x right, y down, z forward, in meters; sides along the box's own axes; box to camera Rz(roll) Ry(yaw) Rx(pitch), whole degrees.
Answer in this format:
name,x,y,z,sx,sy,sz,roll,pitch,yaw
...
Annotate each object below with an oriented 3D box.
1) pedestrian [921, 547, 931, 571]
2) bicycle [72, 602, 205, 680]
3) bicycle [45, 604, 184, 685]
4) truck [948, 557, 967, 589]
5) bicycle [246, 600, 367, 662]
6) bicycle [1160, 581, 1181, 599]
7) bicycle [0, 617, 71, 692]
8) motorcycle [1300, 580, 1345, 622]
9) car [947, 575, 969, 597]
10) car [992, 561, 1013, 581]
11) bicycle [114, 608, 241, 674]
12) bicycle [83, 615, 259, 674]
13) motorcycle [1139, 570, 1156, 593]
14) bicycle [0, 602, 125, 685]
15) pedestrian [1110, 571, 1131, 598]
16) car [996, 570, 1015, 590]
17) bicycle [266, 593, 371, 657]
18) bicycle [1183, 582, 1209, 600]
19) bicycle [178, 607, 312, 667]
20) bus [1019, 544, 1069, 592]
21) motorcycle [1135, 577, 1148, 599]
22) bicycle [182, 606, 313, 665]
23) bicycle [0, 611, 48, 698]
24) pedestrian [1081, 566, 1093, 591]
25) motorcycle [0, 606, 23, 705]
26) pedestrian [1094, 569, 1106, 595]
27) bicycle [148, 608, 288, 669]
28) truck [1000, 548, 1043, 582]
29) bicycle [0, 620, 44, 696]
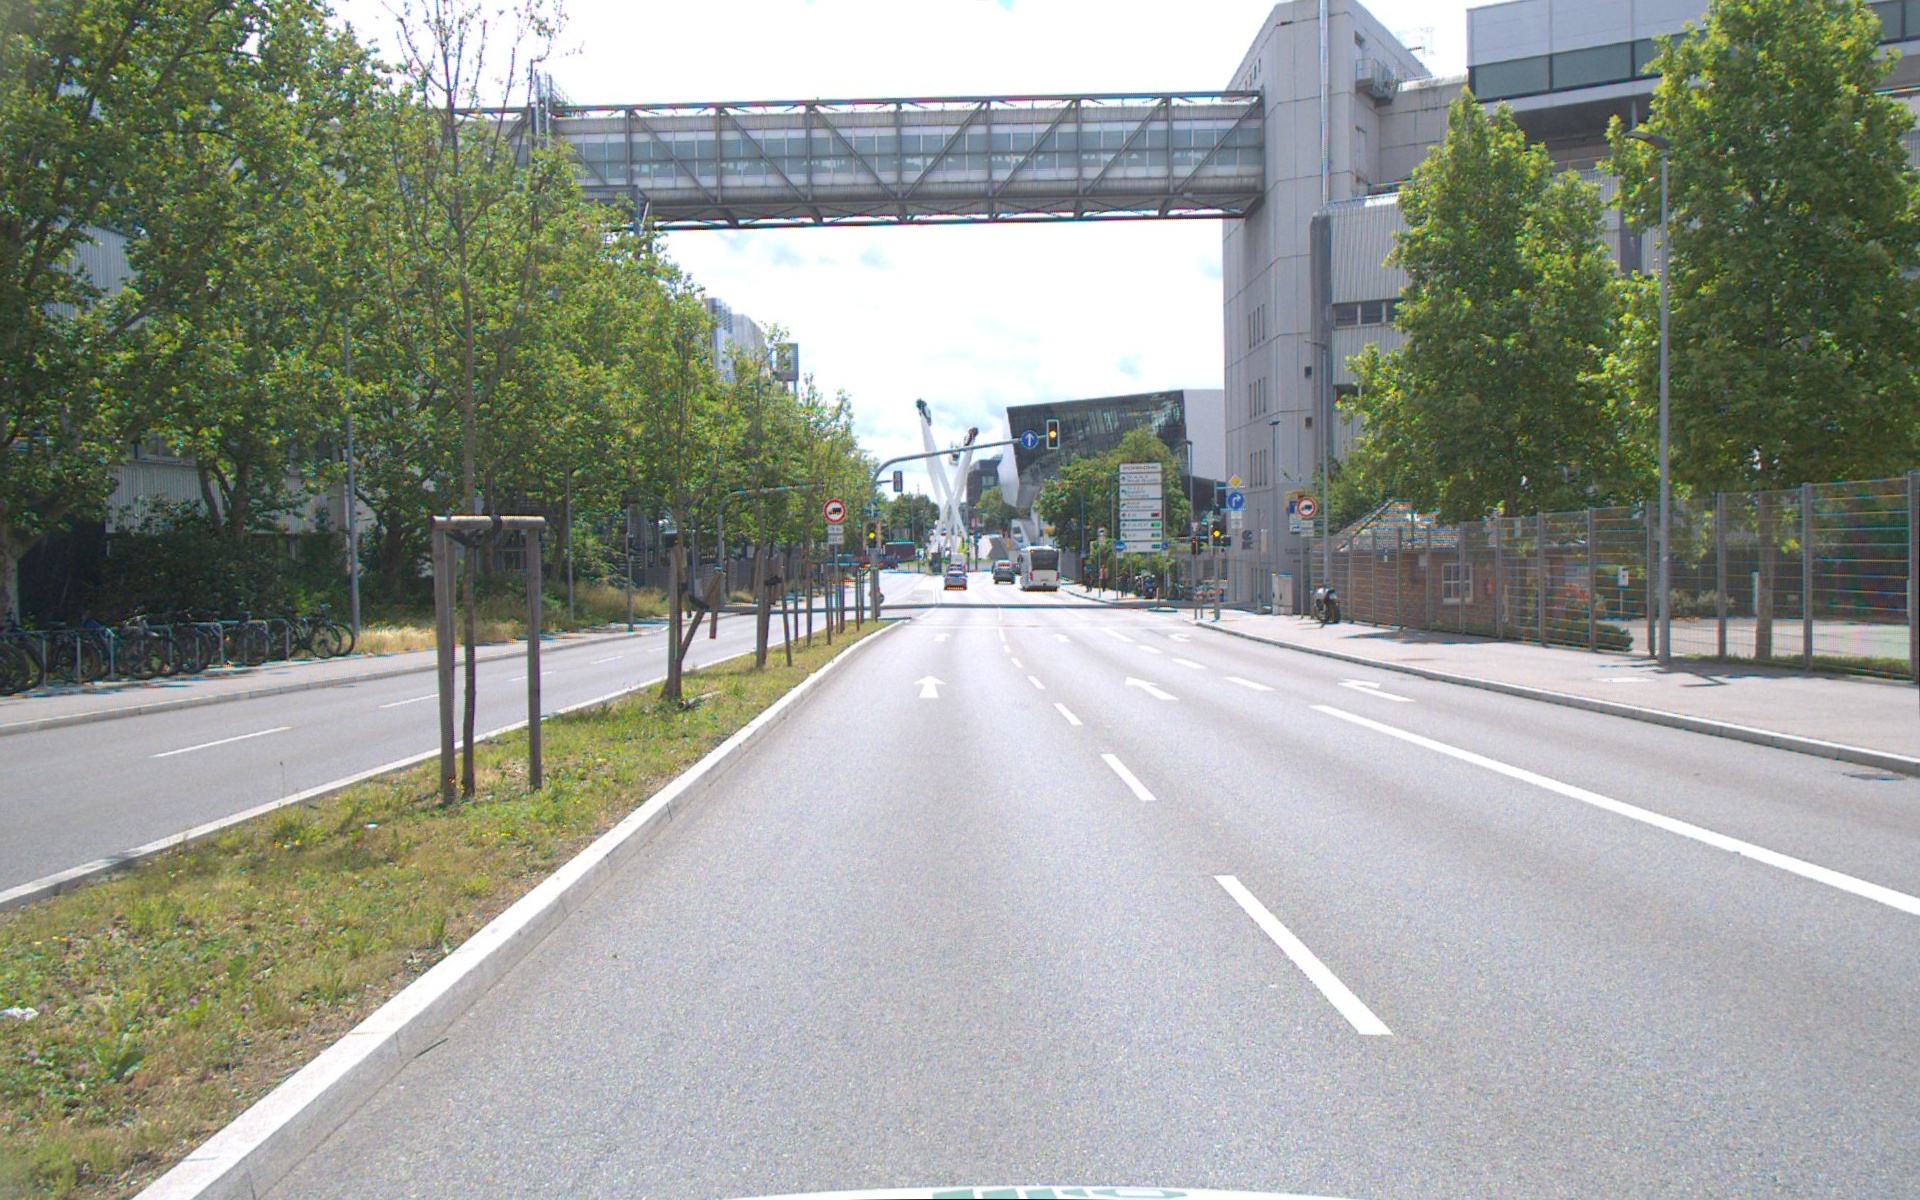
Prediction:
name,x,y,z,sx,sy,sz,roll,pitch,yaw
pedestrian,-5.138,-6.178,249.675,1.387,3.663,1.283,0,0,-1
bicycle,-14.120,0.697,28.475,1.879,1.305,0.806,0,0,-2
bicycle,-14.009,0.726,27.439,1.879,1.305,0.806,0,0,-2
truck,-0.303,-3.366,205.677,2.343,3.965,6.178,0,1,1
bicycle,-13.880,0.655,35.166,2.354,1.280,0.556,0,0,1
bicycle,11.268,-0.552,88.578,0.391,0.953,1.918,0,1,-18
bicycle,-14.415,0.808,24.633,2.039,1.081,0.497,0,0,-2
motorcycle,10.603,0.026,48.443,0.679,1.178,2.146,-2,1,-4
car,-0.127,-1.106,131.244,1.702,1.772,3.692,0,1,1
car,4.634,-3.190,182.015,1.954,2.049,3.996,1,-1,-4
bicycle,-13.965,0.725,29.550,1.879,1.142,0.806,0,0,-2
bicycle,-14.514,0.808,30.484,2.783,1.024,0.849,0,0,-10
motorcycle,10.453,-1.058,92.226,0.692,1.224,2.024,-2,1,1
bicycle,-14.634,0.687,26.501,2.091,1.305,0.806,0,0,-2
pedestrian,9.608,-0.928,99.058,0.835,1.653,0.951,0,1,41
car,4.268,-1.858,154.334,1.702,1.772,3.692,0,1,1
bicycle,-14.102,0.549,36.372,2.122,1.387,0.490,0,0,1
bicycle,12.294,-0.487,86.303,0.392,0.953,1.913,0,1,-25
bicycle,-14.332,0.728,33.159,2.510,1.177,0.644,0,0,9
bus,6.537,-2.471,130.509,3.382,3.605,10.605,0,1,0
motorcycle,10.993,-0.732,100.364,0.562,1.224,2.024,-2,1,1
bicycle,-14.761,0.721,34.275,2.510,1.177,0.726,0,0,9
bicycle,-14.192,0.762,23.418,2.091,1.201,0.806,0,0,-2
pedestrian,8.876,-1.498,115.519,0.803,1.737,0.881,0,0,0
motorcycle,-13.973,0.749,22.400,2.091,1.332,0.806,0,0,-2
pedestrian,9.678,-1.270,114.441,0.623,1.772,0.821,0,0,-7
bicycle,-14.512,0.750,32.365,2.510,1.115,0.696,-1,0,9
truck,8.201,-4.580,219.036,3.380,4.468,9.425,0,1,18
bicycle,-14.465,0.843,24.163,1.885,1.093,0.422,0,0,-2
